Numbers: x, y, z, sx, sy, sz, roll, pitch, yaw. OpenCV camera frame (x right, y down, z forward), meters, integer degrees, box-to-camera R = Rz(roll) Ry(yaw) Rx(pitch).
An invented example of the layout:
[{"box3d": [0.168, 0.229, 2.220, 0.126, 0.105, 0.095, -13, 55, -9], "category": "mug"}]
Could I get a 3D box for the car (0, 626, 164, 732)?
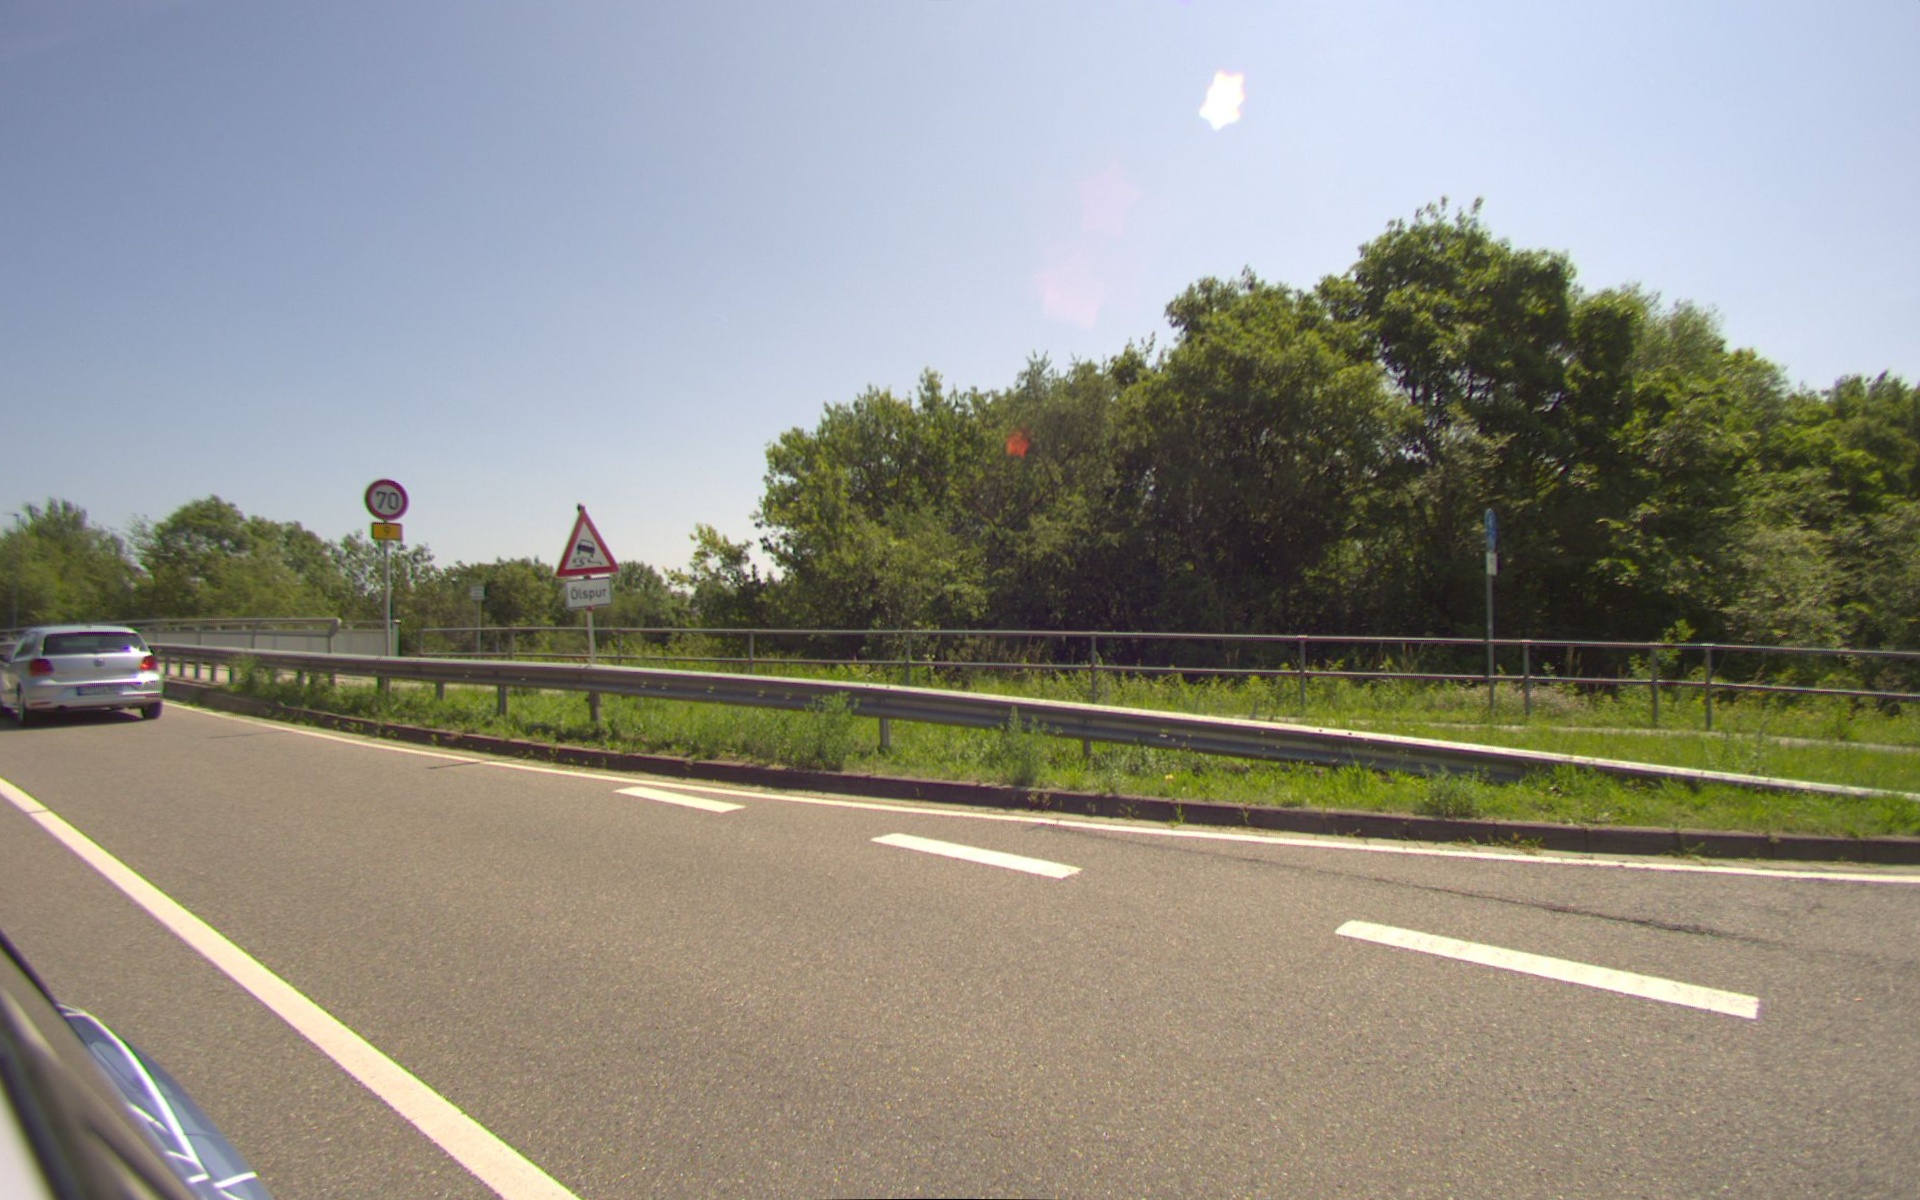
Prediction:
[{"box3d": [-13.878, 1.136, 15.776, 3.764, 1.429, 1.627, -1, -1, 41], "category": "car"}]
